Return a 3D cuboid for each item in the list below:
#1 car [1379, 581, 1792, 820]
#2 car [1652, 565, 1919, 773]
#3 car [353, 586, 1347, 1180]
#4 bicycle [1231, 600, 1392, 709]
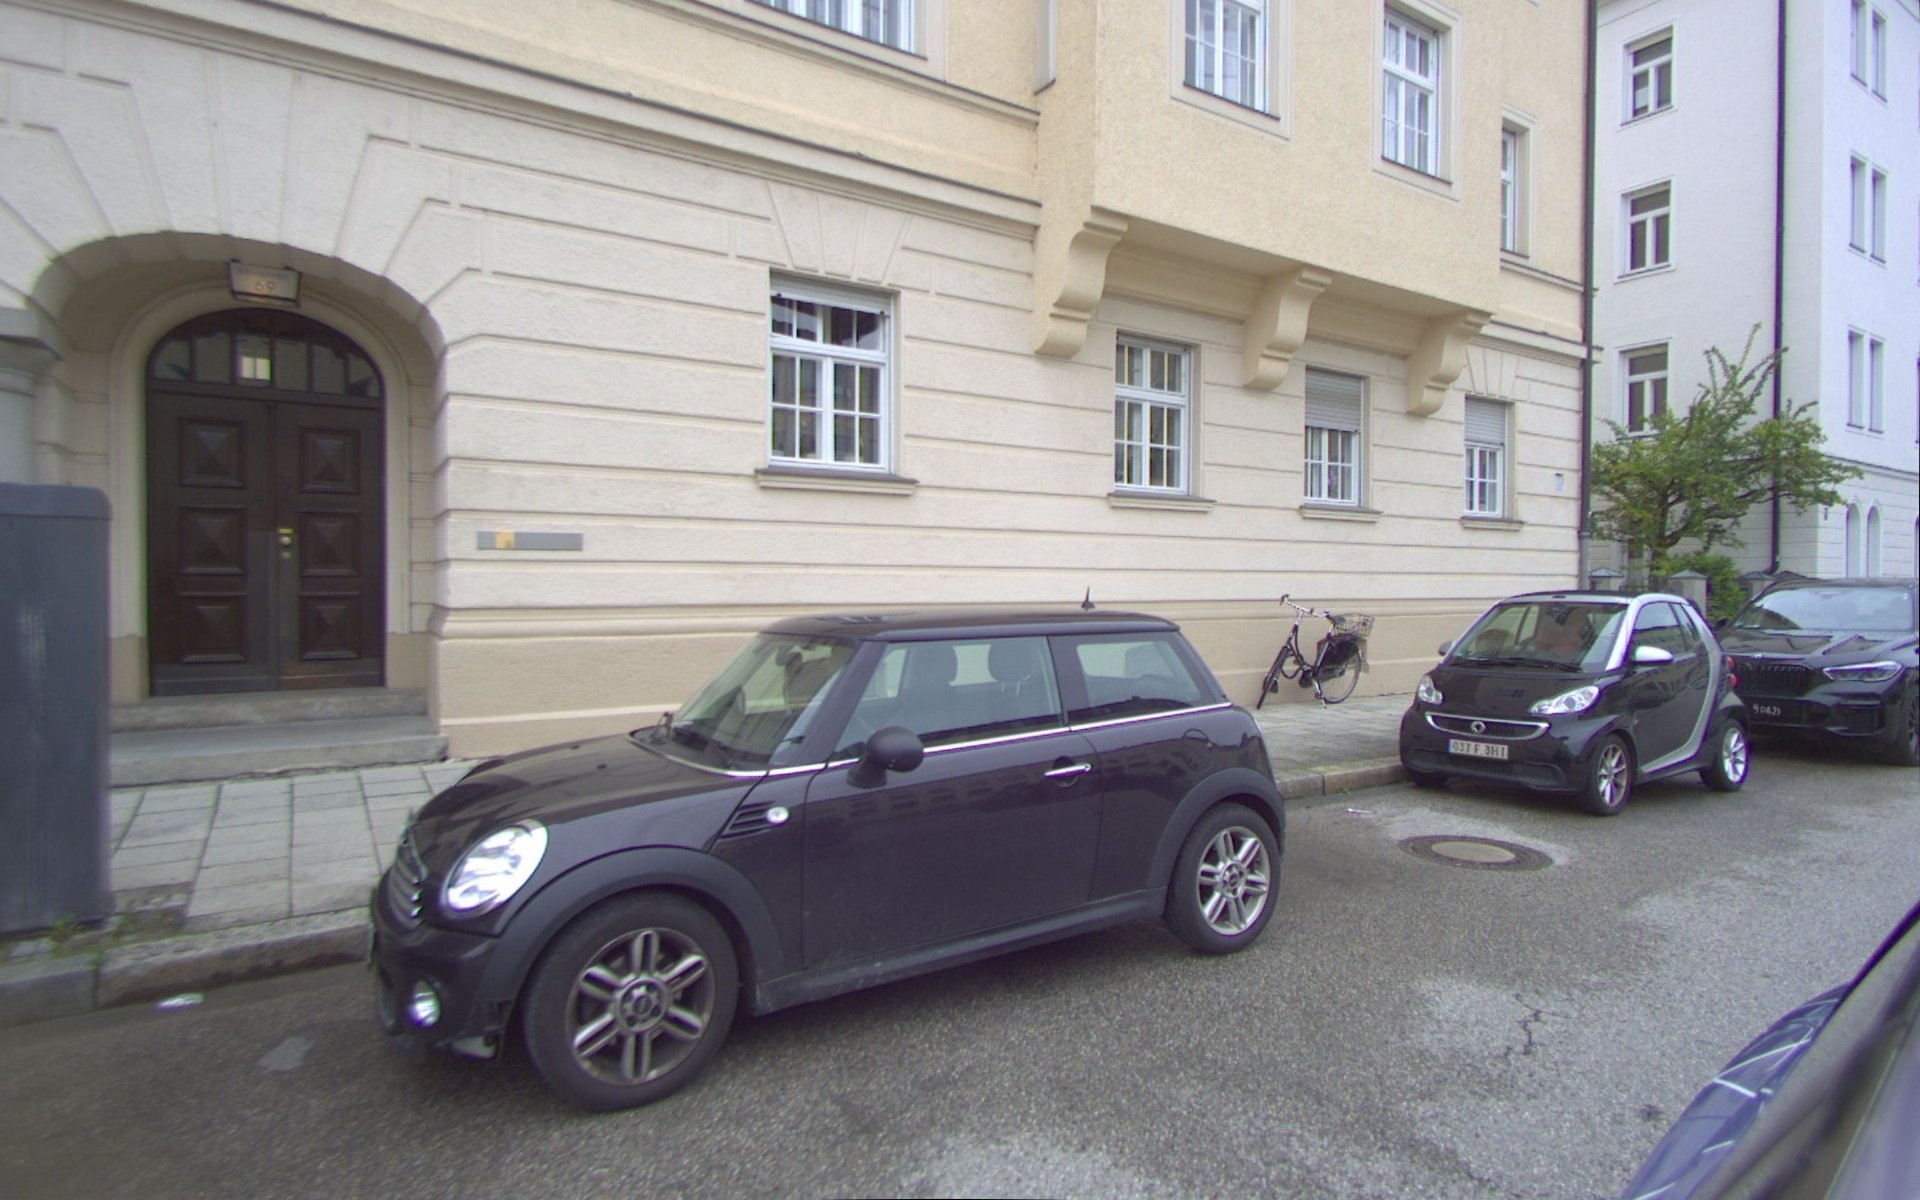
[{"bbox_3d":[4.963,0.642,7.994,3.049,1.543,1.541,0,0,-31],"label":"car"},{"bbox_3d":[9.398,0.560,10.519,4.770,1.739,1.876,-1,0,-32],"label":"car"},{"bbox_3d":[-0.341,0.691,4.227,3.754,1.466,1.715,-1,0,-31],"label":"car"},{"bbox_3d":[3.918,0.567,11.233,1.915,1.096,0.582,0,3,-32],"label":"bicycle"}]
